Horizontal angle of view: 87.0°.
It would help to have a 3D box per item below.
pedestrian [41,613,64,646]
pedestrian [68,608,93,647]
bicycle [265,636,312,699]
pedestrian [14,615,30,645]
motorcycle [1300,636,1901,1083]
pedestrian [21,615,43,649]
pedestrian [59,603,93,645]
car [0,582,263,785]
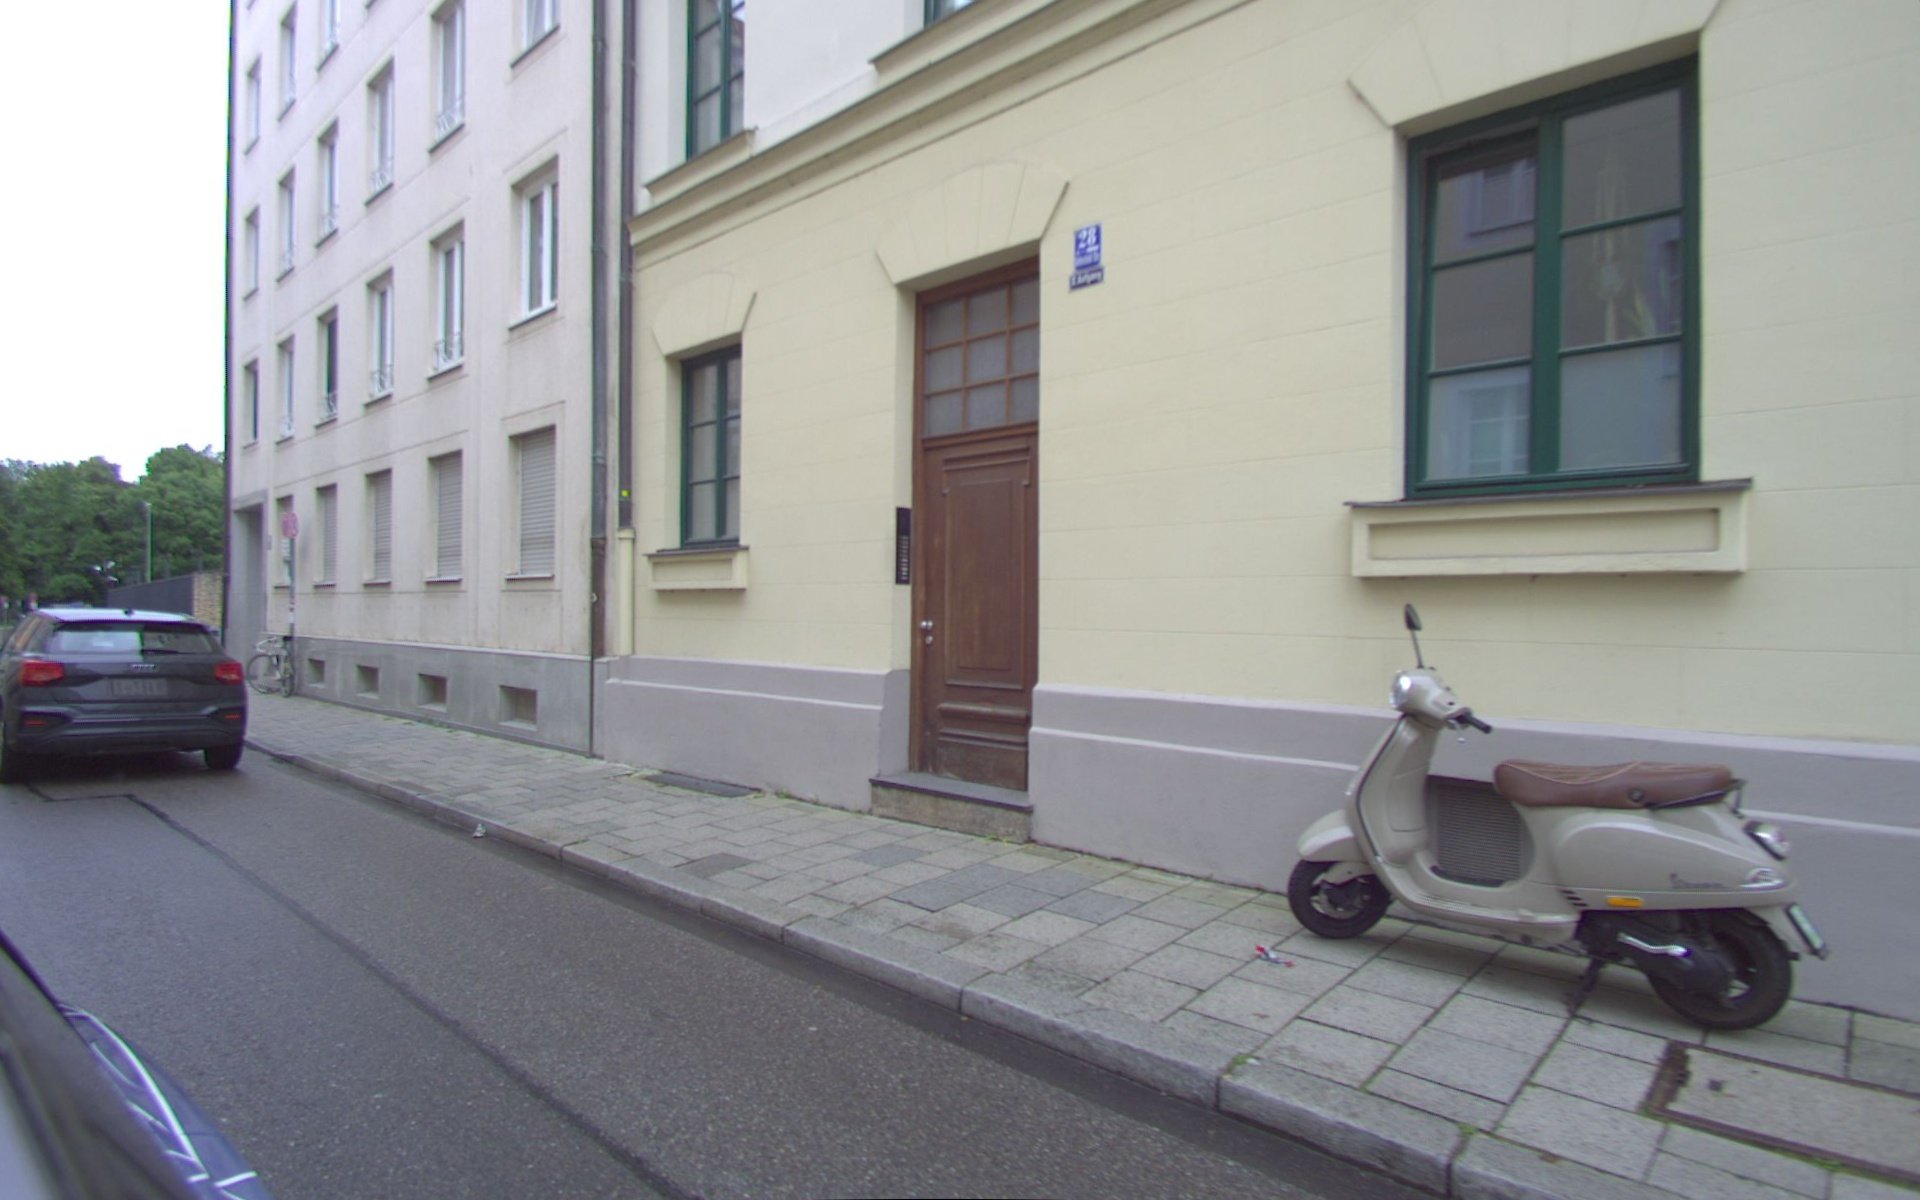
[{"bbox_3d":[-43.949,1.413,49.023,0.767,1.551,0.934,-1,0,-39],"label":"pedestrian"},{"bbox_3d":[-39.595,1.241,45.540,0.814,1.736,0.907,-1,-1,-42],"label":"pedestrian"},{"bbox_3d":[-11.001,1.085,16.558,0.316,0.951,1.575,-3,1,-45],"label":"bicycle"},{"bbox_3d":[-56.274,1.774,60.737,0.766,1.782,0.617,-2,-2,43],"label":"pedestrian"},{"bbox_3d":[2.154,0.739,3.584,1.709,1.183,0.595,-1,-1,44],"label":"motorcycle"},{"bbox_3d":[-41.032,1.404,44.763,1.079,1.478,0.631,-2,-1,44],"label":"pedestrian"},{"bbox_3d":[-45.625,1.245,52.218,1.209,2.120,1.117,1,-3,-45],"label":"pedestrian"},{"bbox_3d":[-8.514,0.713,9.992,3.999,1.606,1.792,-1,-3,42],"label":"car"}]
